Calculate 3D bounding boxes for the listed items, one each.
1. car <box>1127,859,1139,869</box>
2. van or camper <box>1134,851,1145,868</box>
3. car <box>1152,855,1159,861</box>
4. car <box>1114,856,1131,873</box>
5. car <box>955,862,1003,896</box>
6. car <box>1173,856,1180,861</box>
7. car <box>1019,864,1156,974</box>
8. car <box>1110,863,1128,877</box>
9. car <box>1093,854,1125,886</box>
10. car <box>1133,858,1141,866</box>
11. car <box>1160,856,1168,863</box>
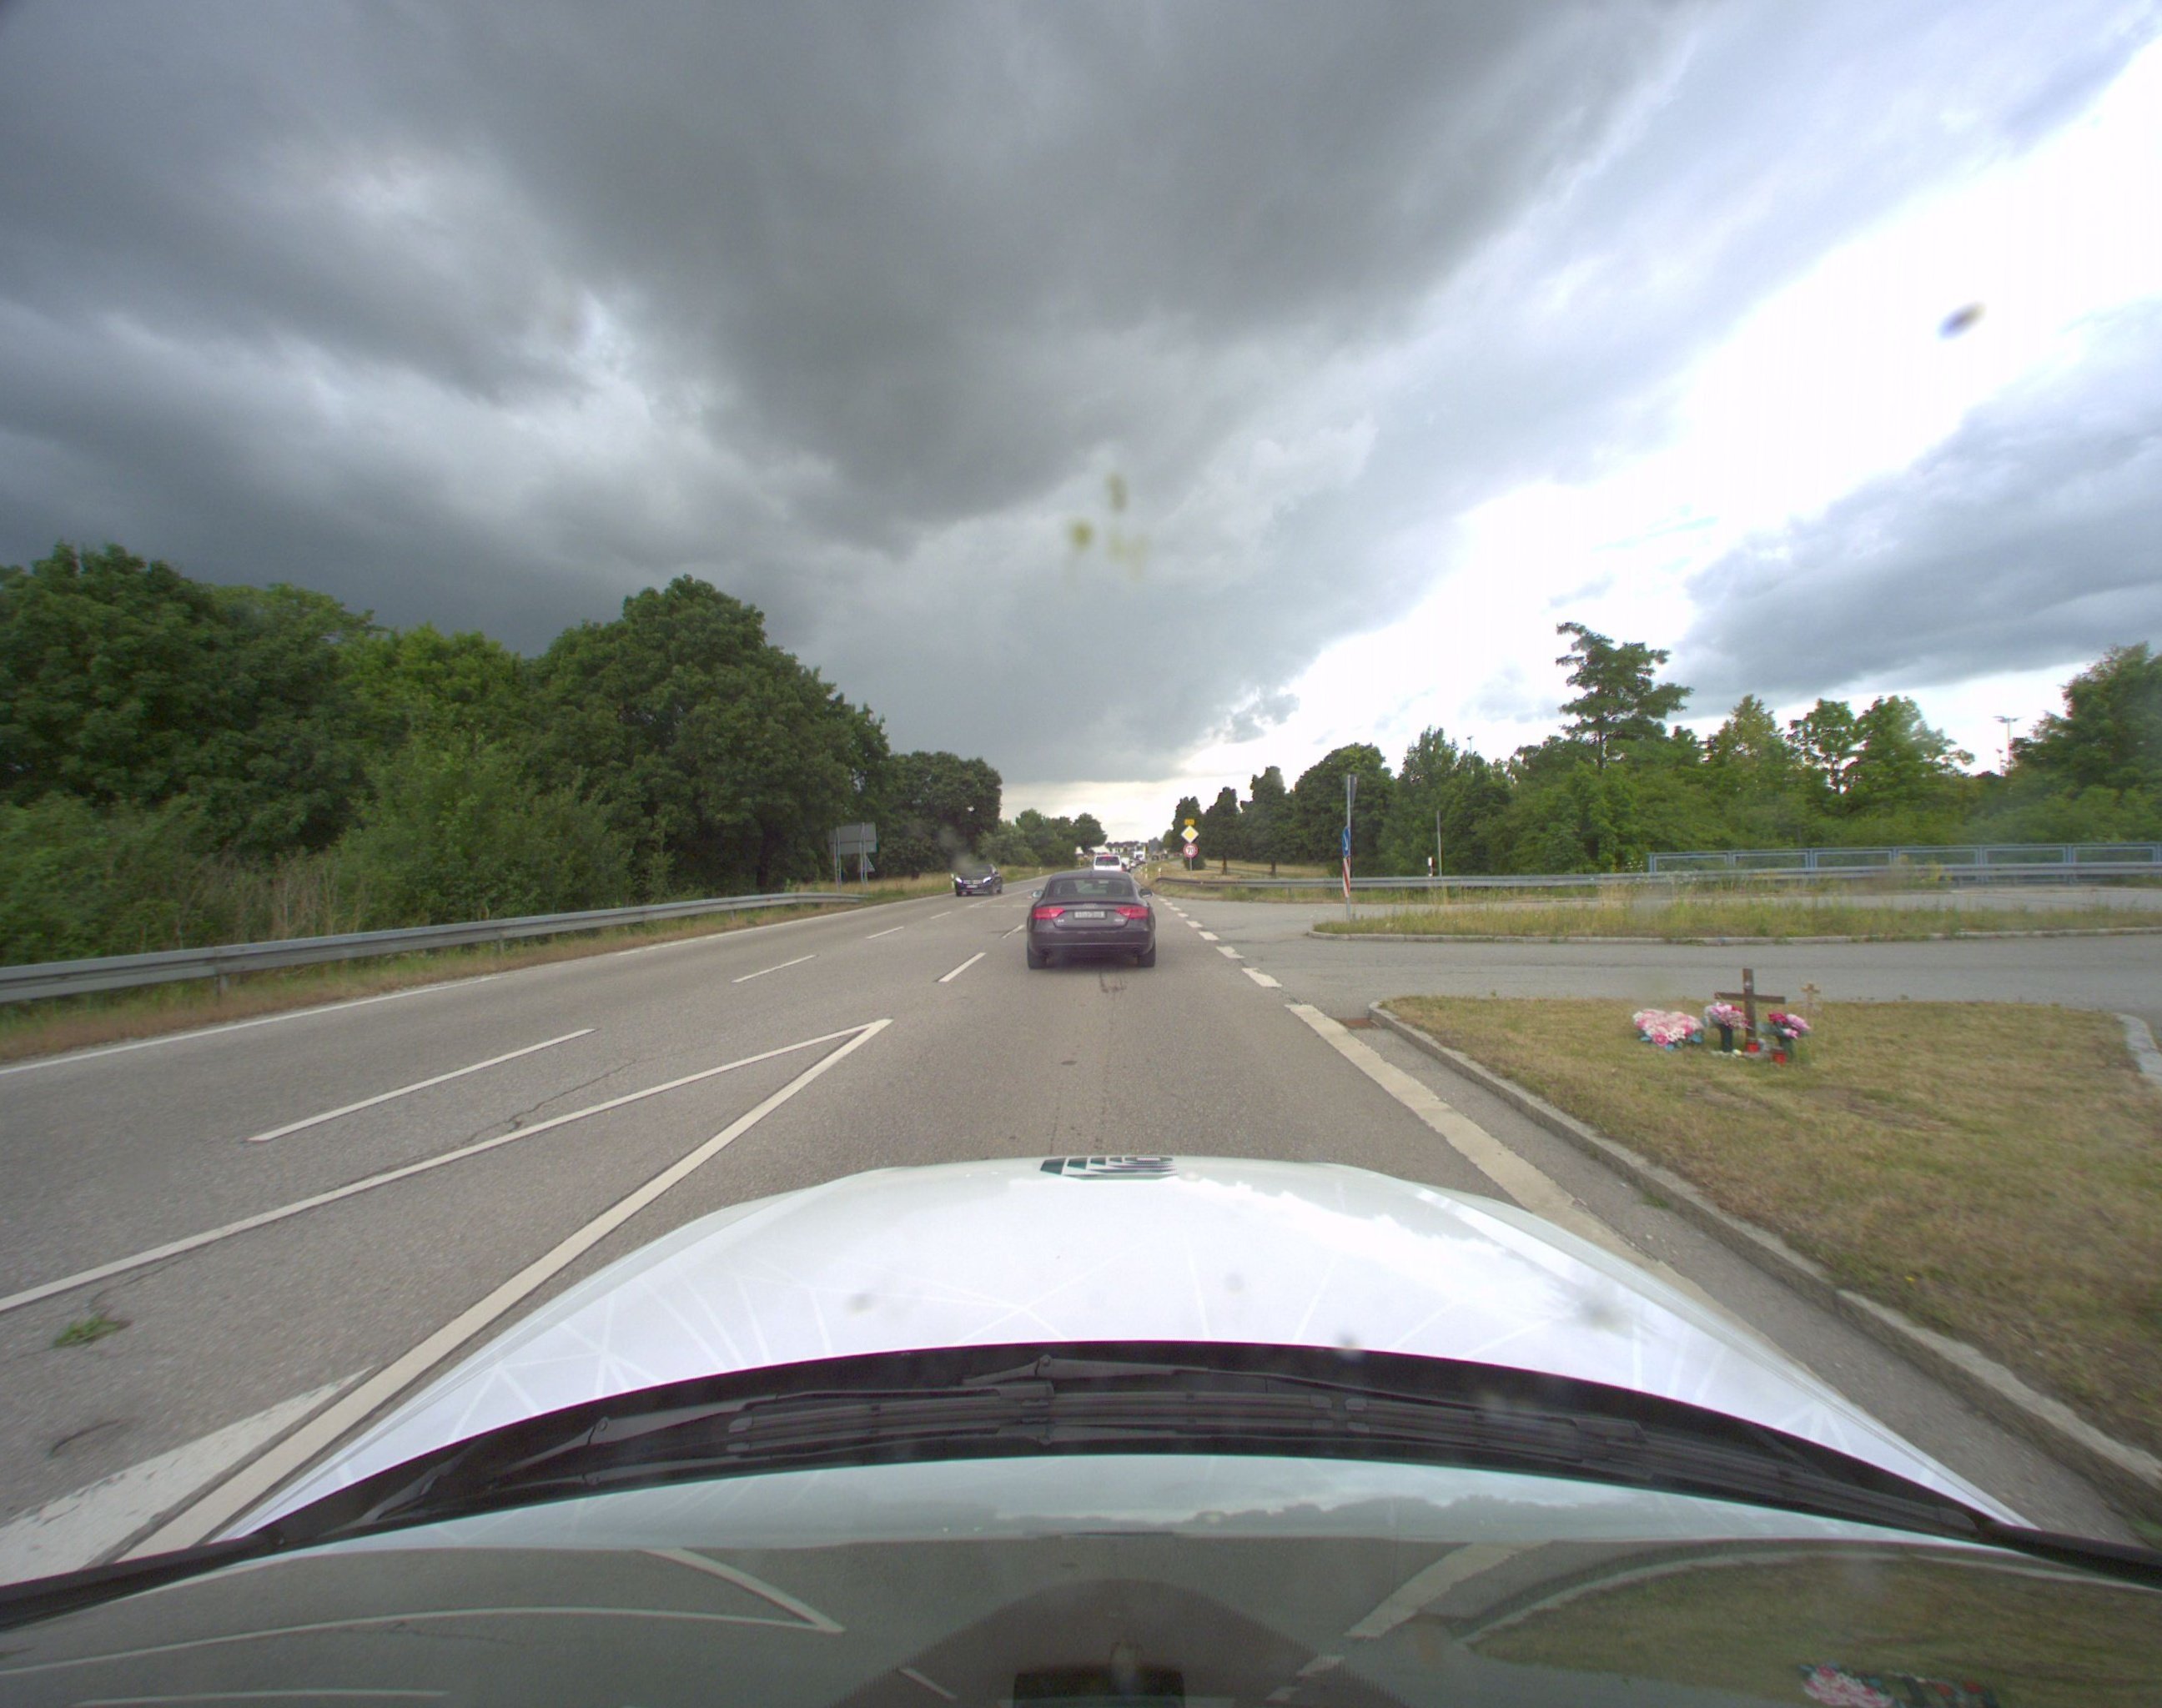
[{"bbox_3d":[8.873,1.713,138.333,1.726,1.514,3.754,-2,-1,8],"label":"car"},{"bbox_3d":[12.362,1.180,171.864,2.330,3.481,5.724,-1,-1,4],"label":"van or camper"},{"bbox_3d":[19.358,0.976,212.395,1.712,1.451,4.003,-1,0,3],"label":"car"},{"bbox_3d":[5.384,1.381,105.855,1.984,2.088,4.005,-2,-1,5],"label":"car"},{"bbox_3d":[-4.933,1.180,39.826,1.704,1.523,4.002,-1,-1,2],"label":"car"},{"bbox_3d":[28.251,1.379,241.557,1.814,1.596,4.003,-1,-1,3],"label":"car"},{"bbox_3d":[0.152,0.877,12.635,1.776,1.376,4.001,-1,0,2],"label":"car"},{"bbox_3d":[4.234,1.750,89.909,1.787,1.464,3.253,-1,-1,5],"label":"car"},{"bbox_3d":[1.688,0.931,49.086,1.832,1.882,4.001,-1,0,2],"label":"car"},{"bbox_3d":[10.604,1.502,153.460,1.251,1.353,3.473,-2,-1,8],"label":"car"},{"bbox_3d":[24.377,1.518,238.390,1.986,2.014,4.001,-1,-1,1],"label":"car"}]
